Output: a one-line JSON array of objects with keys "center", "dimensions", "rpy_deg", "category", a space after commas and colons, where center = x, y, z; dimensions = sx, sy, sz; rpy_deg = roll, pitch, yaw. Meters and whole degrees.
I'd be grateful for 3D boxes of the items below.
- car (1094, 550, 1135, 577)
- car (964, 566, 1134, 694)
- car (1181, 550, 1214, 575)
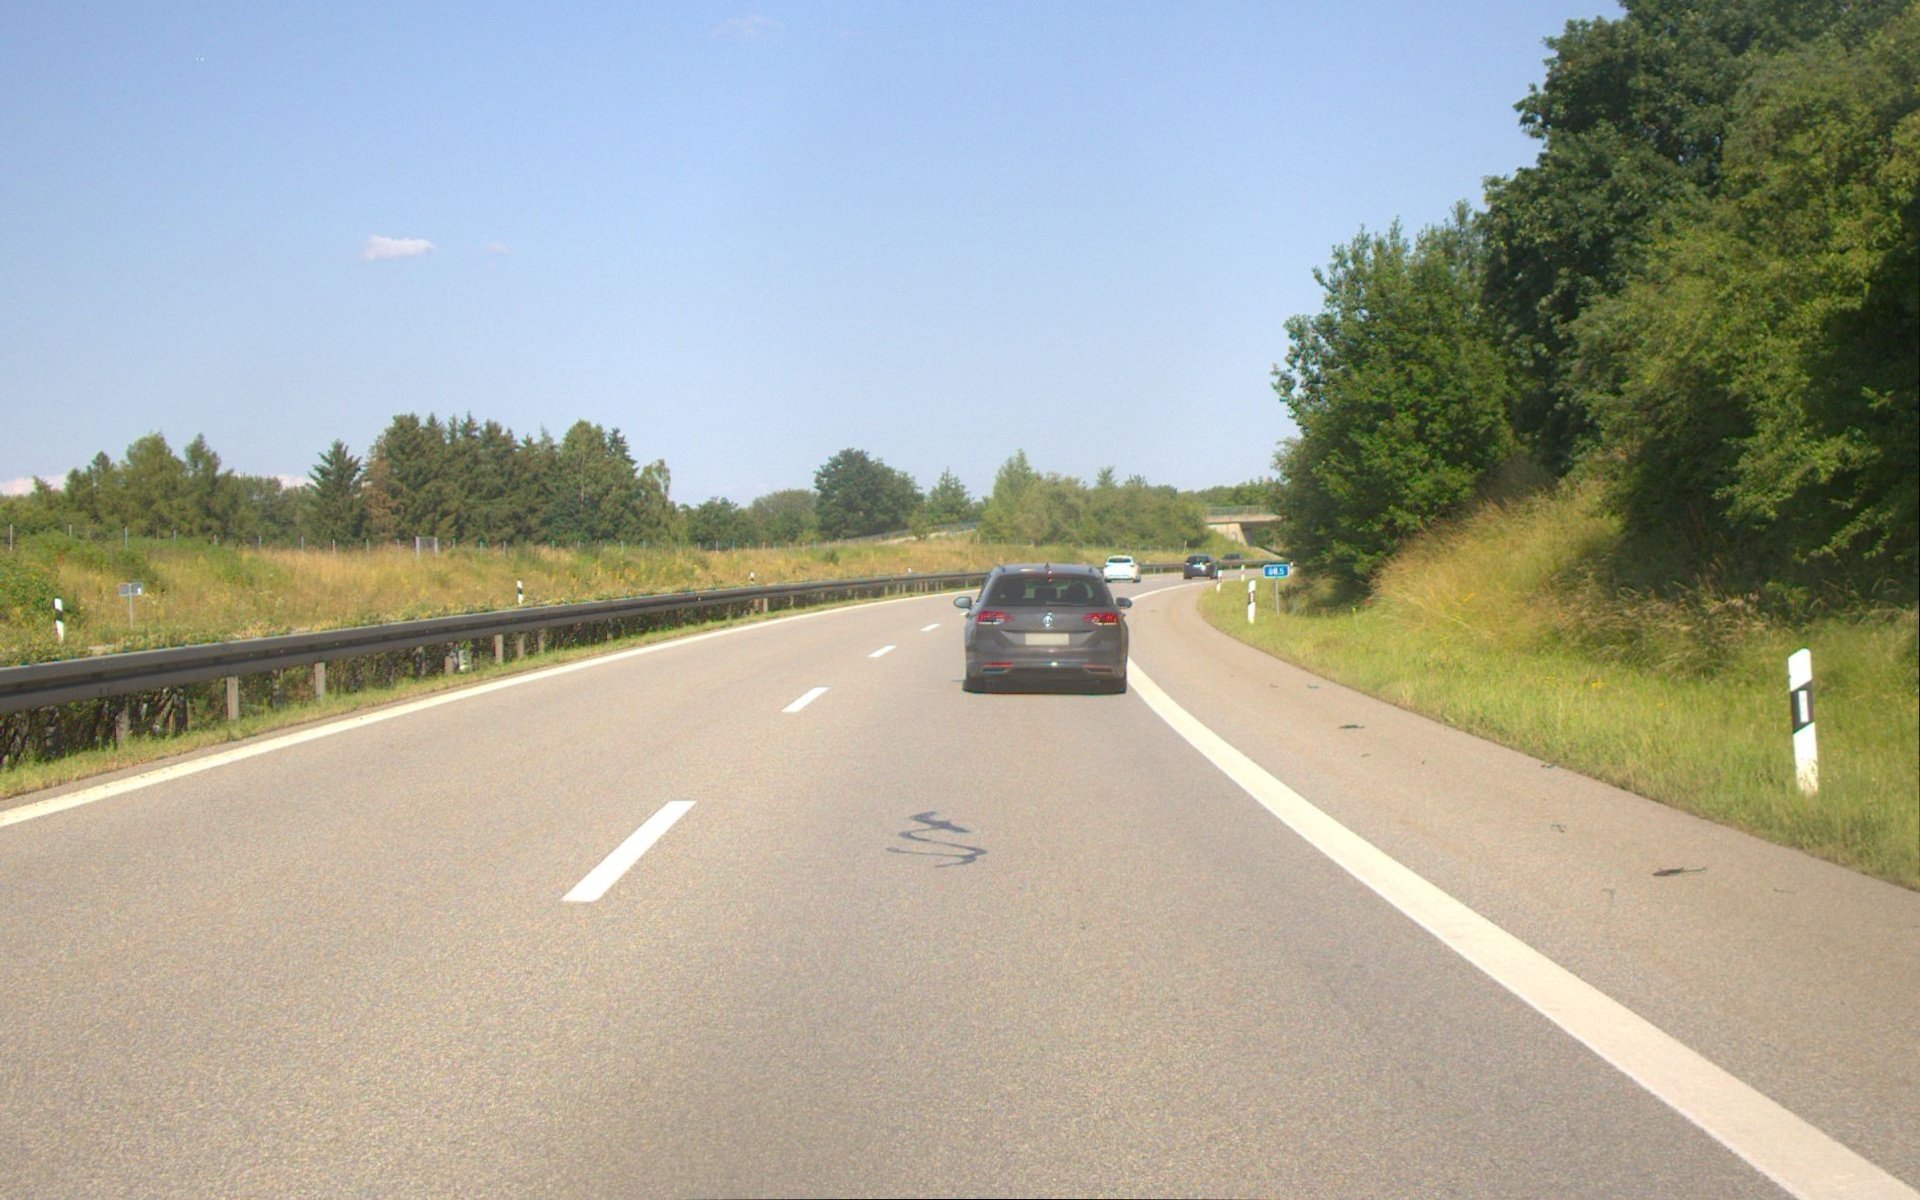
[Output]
[{"center": [8.137, -1.910, 180.943], "dimensions": [2.007, 1.340, 3.999], "rpy_deg": [1, 0, 5], "category": "car"}, {"center": [1.007, 0.318, 38.637], "dimensions": [1.791, 1.340, 4.000], "rpy_deg": [1, 0, 2], "category": "car"}, {"center": [14.143, -2.202, 204.357], "dimensions": [1.711, 1.382, 3.354], "rpy_deg": [1, 0, 8], "category": "car"}]
